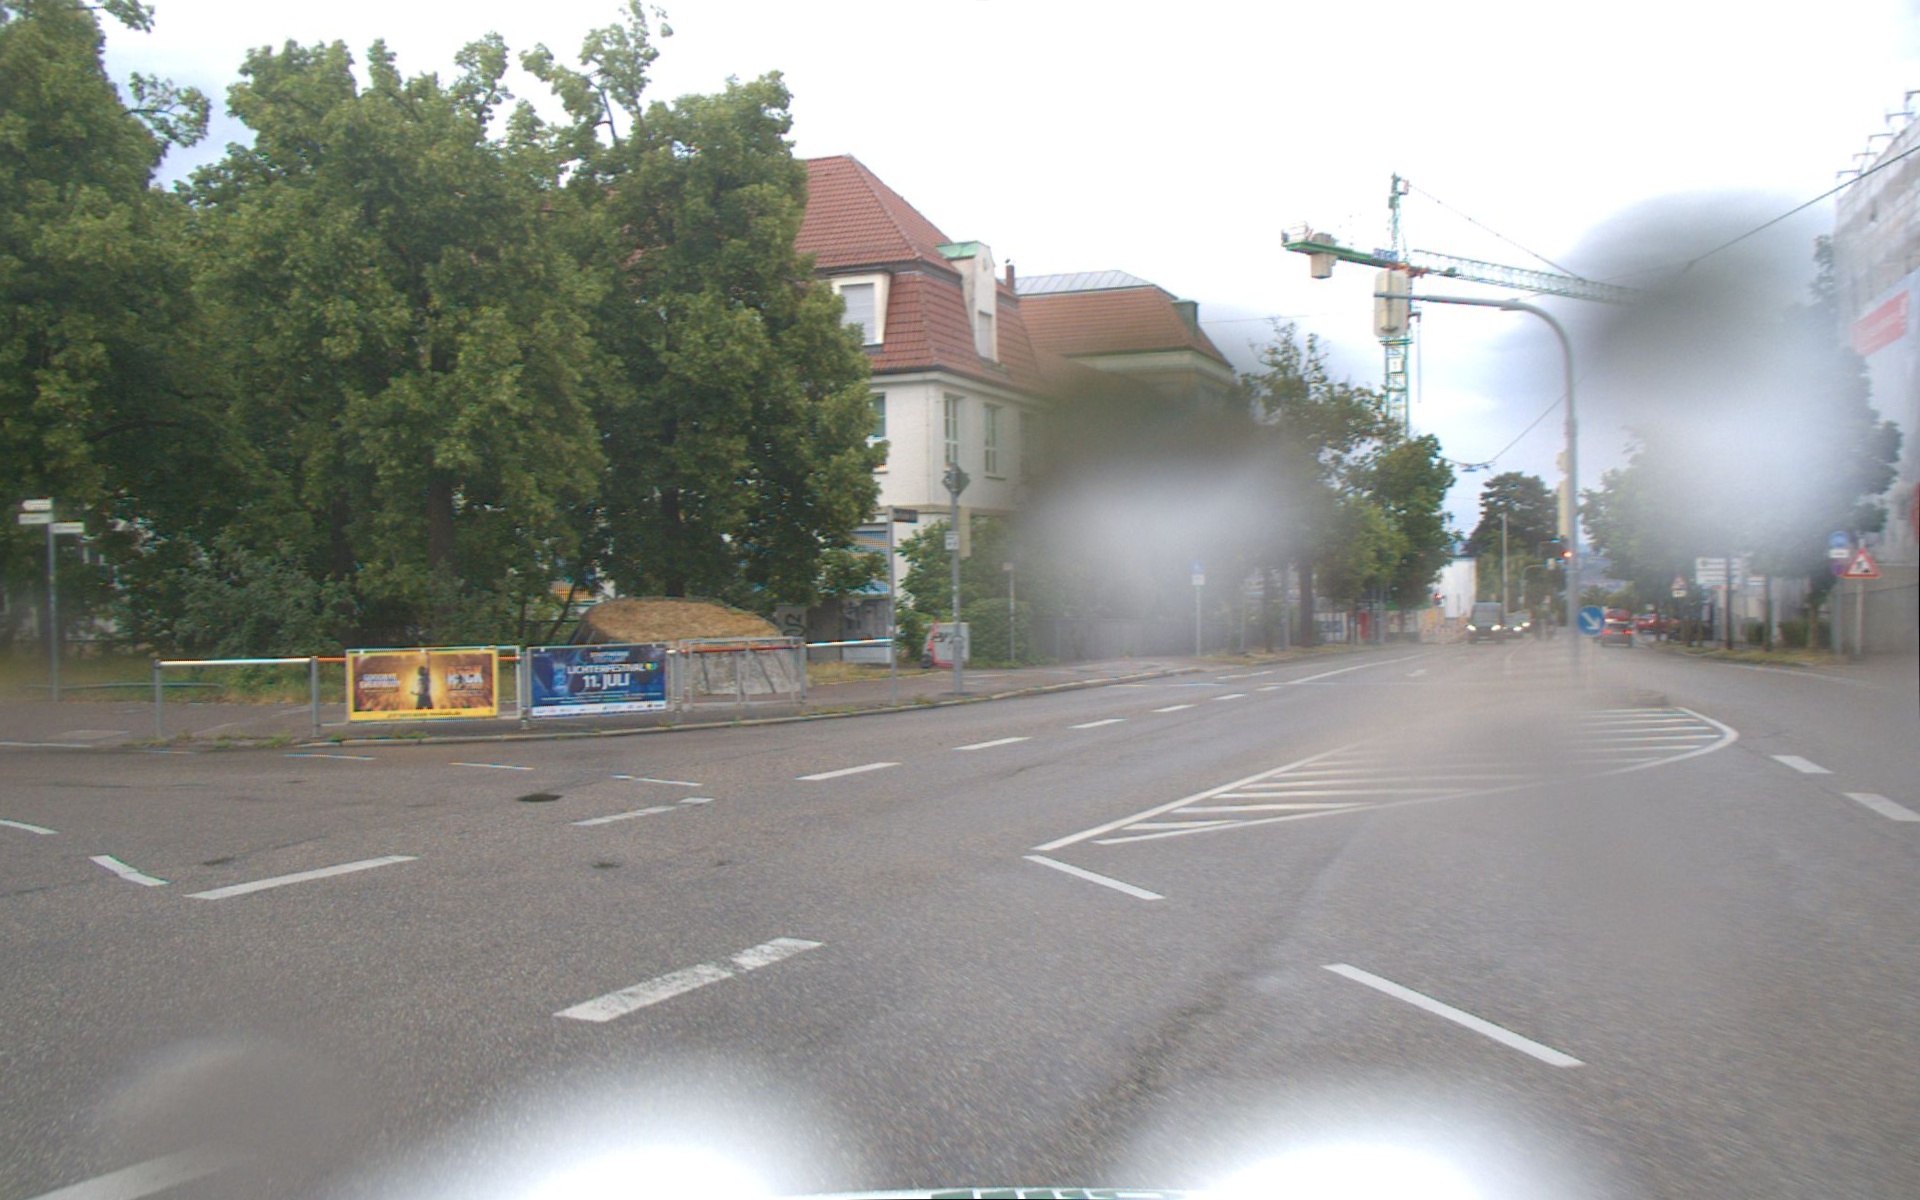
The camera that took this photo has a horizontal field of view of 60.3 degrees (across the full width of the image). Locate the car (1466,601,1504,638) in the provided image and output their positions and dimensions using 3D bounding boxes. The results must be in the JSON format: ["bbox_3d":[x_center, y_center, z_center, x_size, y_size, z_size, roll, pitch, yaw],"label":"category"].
[{"bbox_3d":[33.316,1.240,104.836,1.798,2.250,3.997,0,0,25],"label":"car"}]

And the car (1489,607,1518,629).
[{"bbox_3d":[39.598,1.311,120.479,1.544,1.486,3.535,0,0,25],"label":"car"}]

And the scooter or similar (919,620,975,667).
[{"bbox_3d":[-0.280,0.925,35.048,1.075,0.971,0.533,1,-1,-31],"label":"scooter or similar"}]

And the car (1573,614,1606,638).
[{"bbox_3d":[41.495,1.718,108.996,1.740,1.464,3.868,0,0,25],"label":"car"}]

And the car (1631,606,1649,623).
[{"bbox_3d":[82.296,1.733,200.261,1.953,2.049,4.000,0,0,22],"label":"car"}]

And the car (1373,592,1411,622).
[{"bbox_3d":[30.739,0.480,117.682,1.954,2.049,3.997,0,0,25],"label":"car"}]
